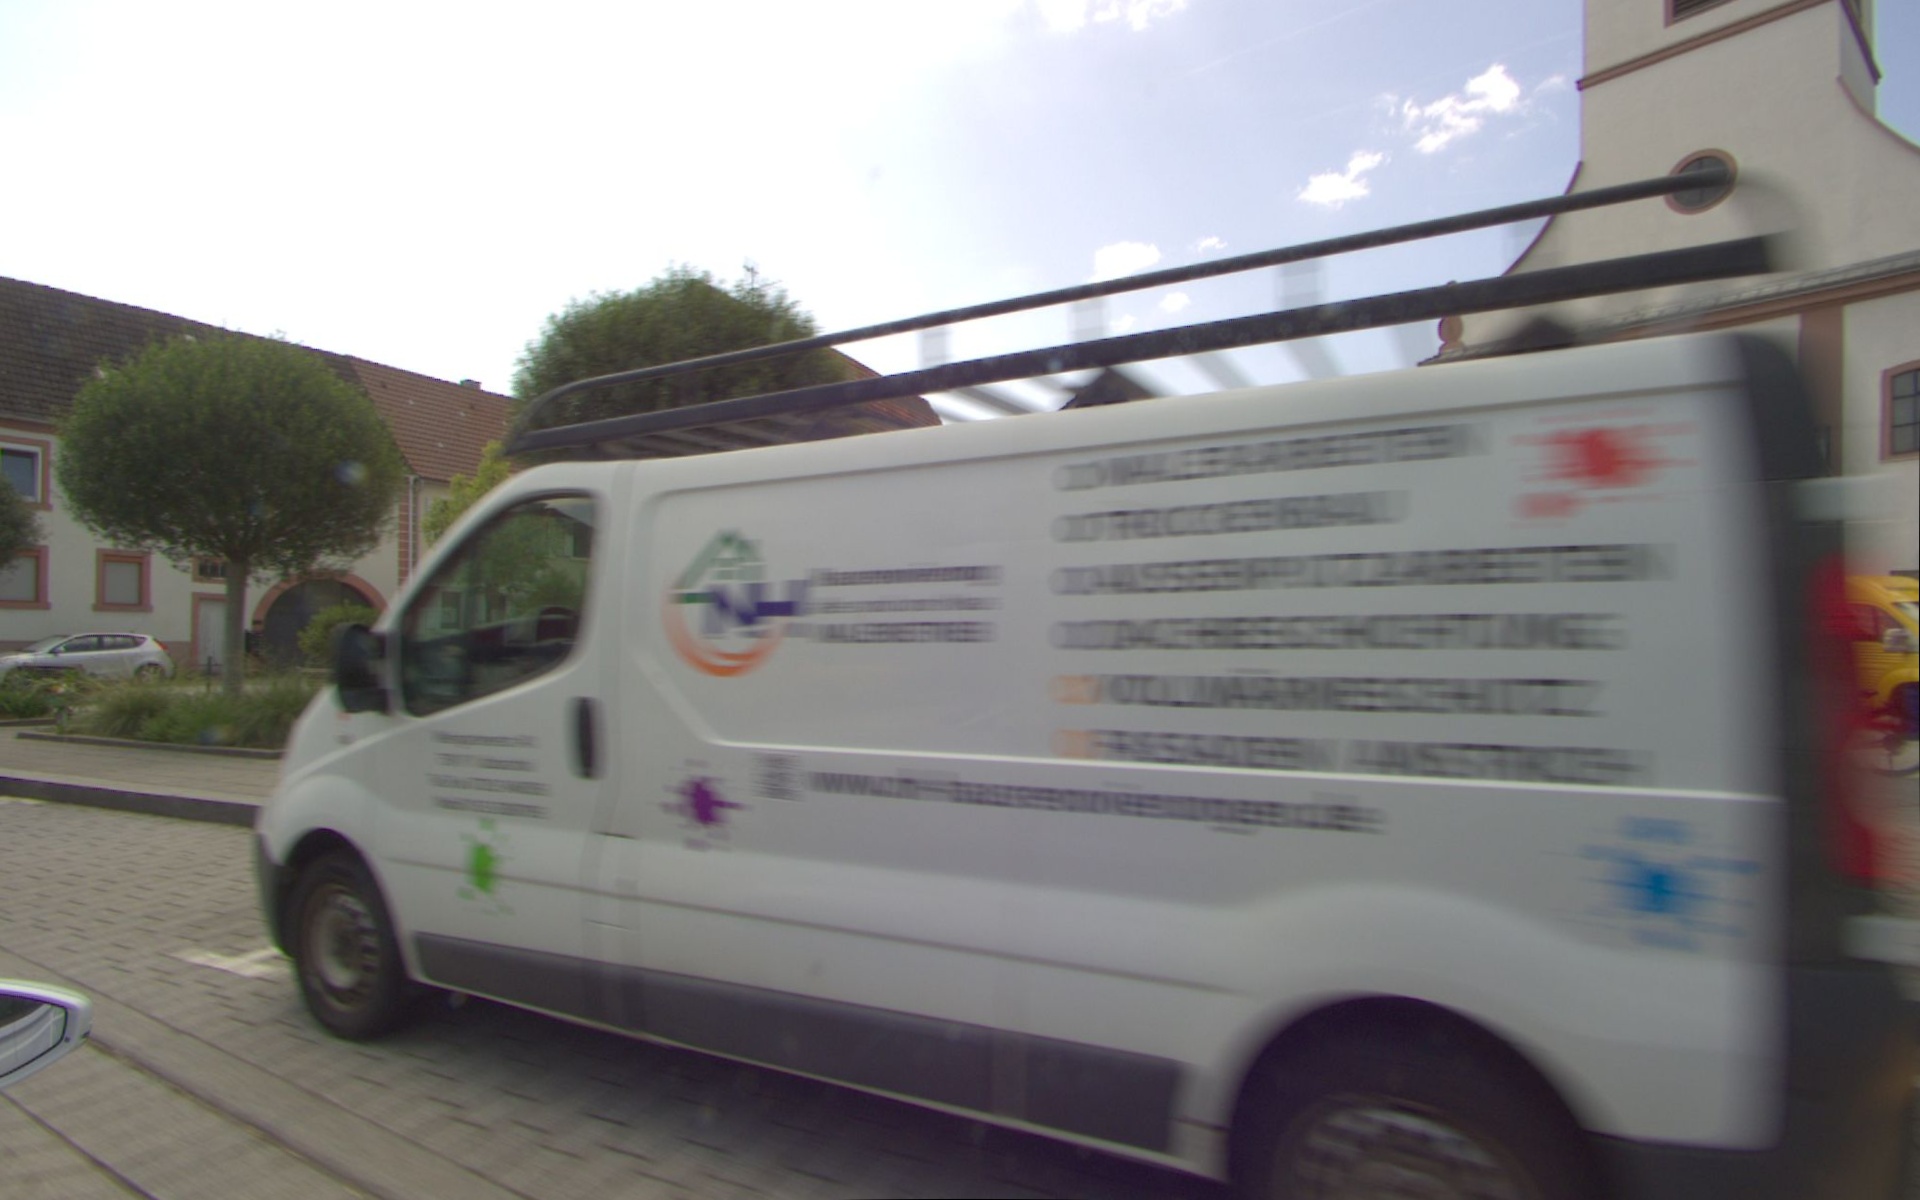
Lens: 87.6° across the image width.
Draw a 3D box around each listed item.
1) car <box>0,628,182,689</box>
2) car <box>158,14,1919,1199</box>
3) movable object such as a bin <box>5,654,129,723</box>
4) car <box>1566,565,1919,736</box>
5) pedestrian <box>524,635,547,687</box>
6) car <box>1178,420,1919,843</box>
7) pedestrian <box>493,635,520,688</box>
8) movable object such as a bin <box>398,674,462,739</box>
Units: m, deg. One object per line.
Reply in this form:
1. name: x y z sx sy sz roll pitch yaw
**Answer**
1. car: -23.396 1.515 26.566 1.799 1.492 3.987 -1 -2 32
2. car: -0.321 0.304 3.433 5.021 2.206 1.941 -1 0 28
3. movable object such as a bin: -12.162 1.186 13.645 1.412 0.877 0.735 -1 -3 24
4. car: 14.639 0.851 17.571 2.607 2.508 6.956 1 -2 -16
5. pedestrian: -10.801 1.550 25.484 0.528 1.300 0.787 0 -1 -23
6. car: 5.933 0.371 9.926 7.043 2.999 2.737 -3 -4 45
7. pedestrian: -11.389 1.542 25.180 0.604 1.301 0.670 0 -1 -24
8. movable object such as a bin: -6.435 1.286 12.176 0.385 0.742 0.564 -1 -2 30
